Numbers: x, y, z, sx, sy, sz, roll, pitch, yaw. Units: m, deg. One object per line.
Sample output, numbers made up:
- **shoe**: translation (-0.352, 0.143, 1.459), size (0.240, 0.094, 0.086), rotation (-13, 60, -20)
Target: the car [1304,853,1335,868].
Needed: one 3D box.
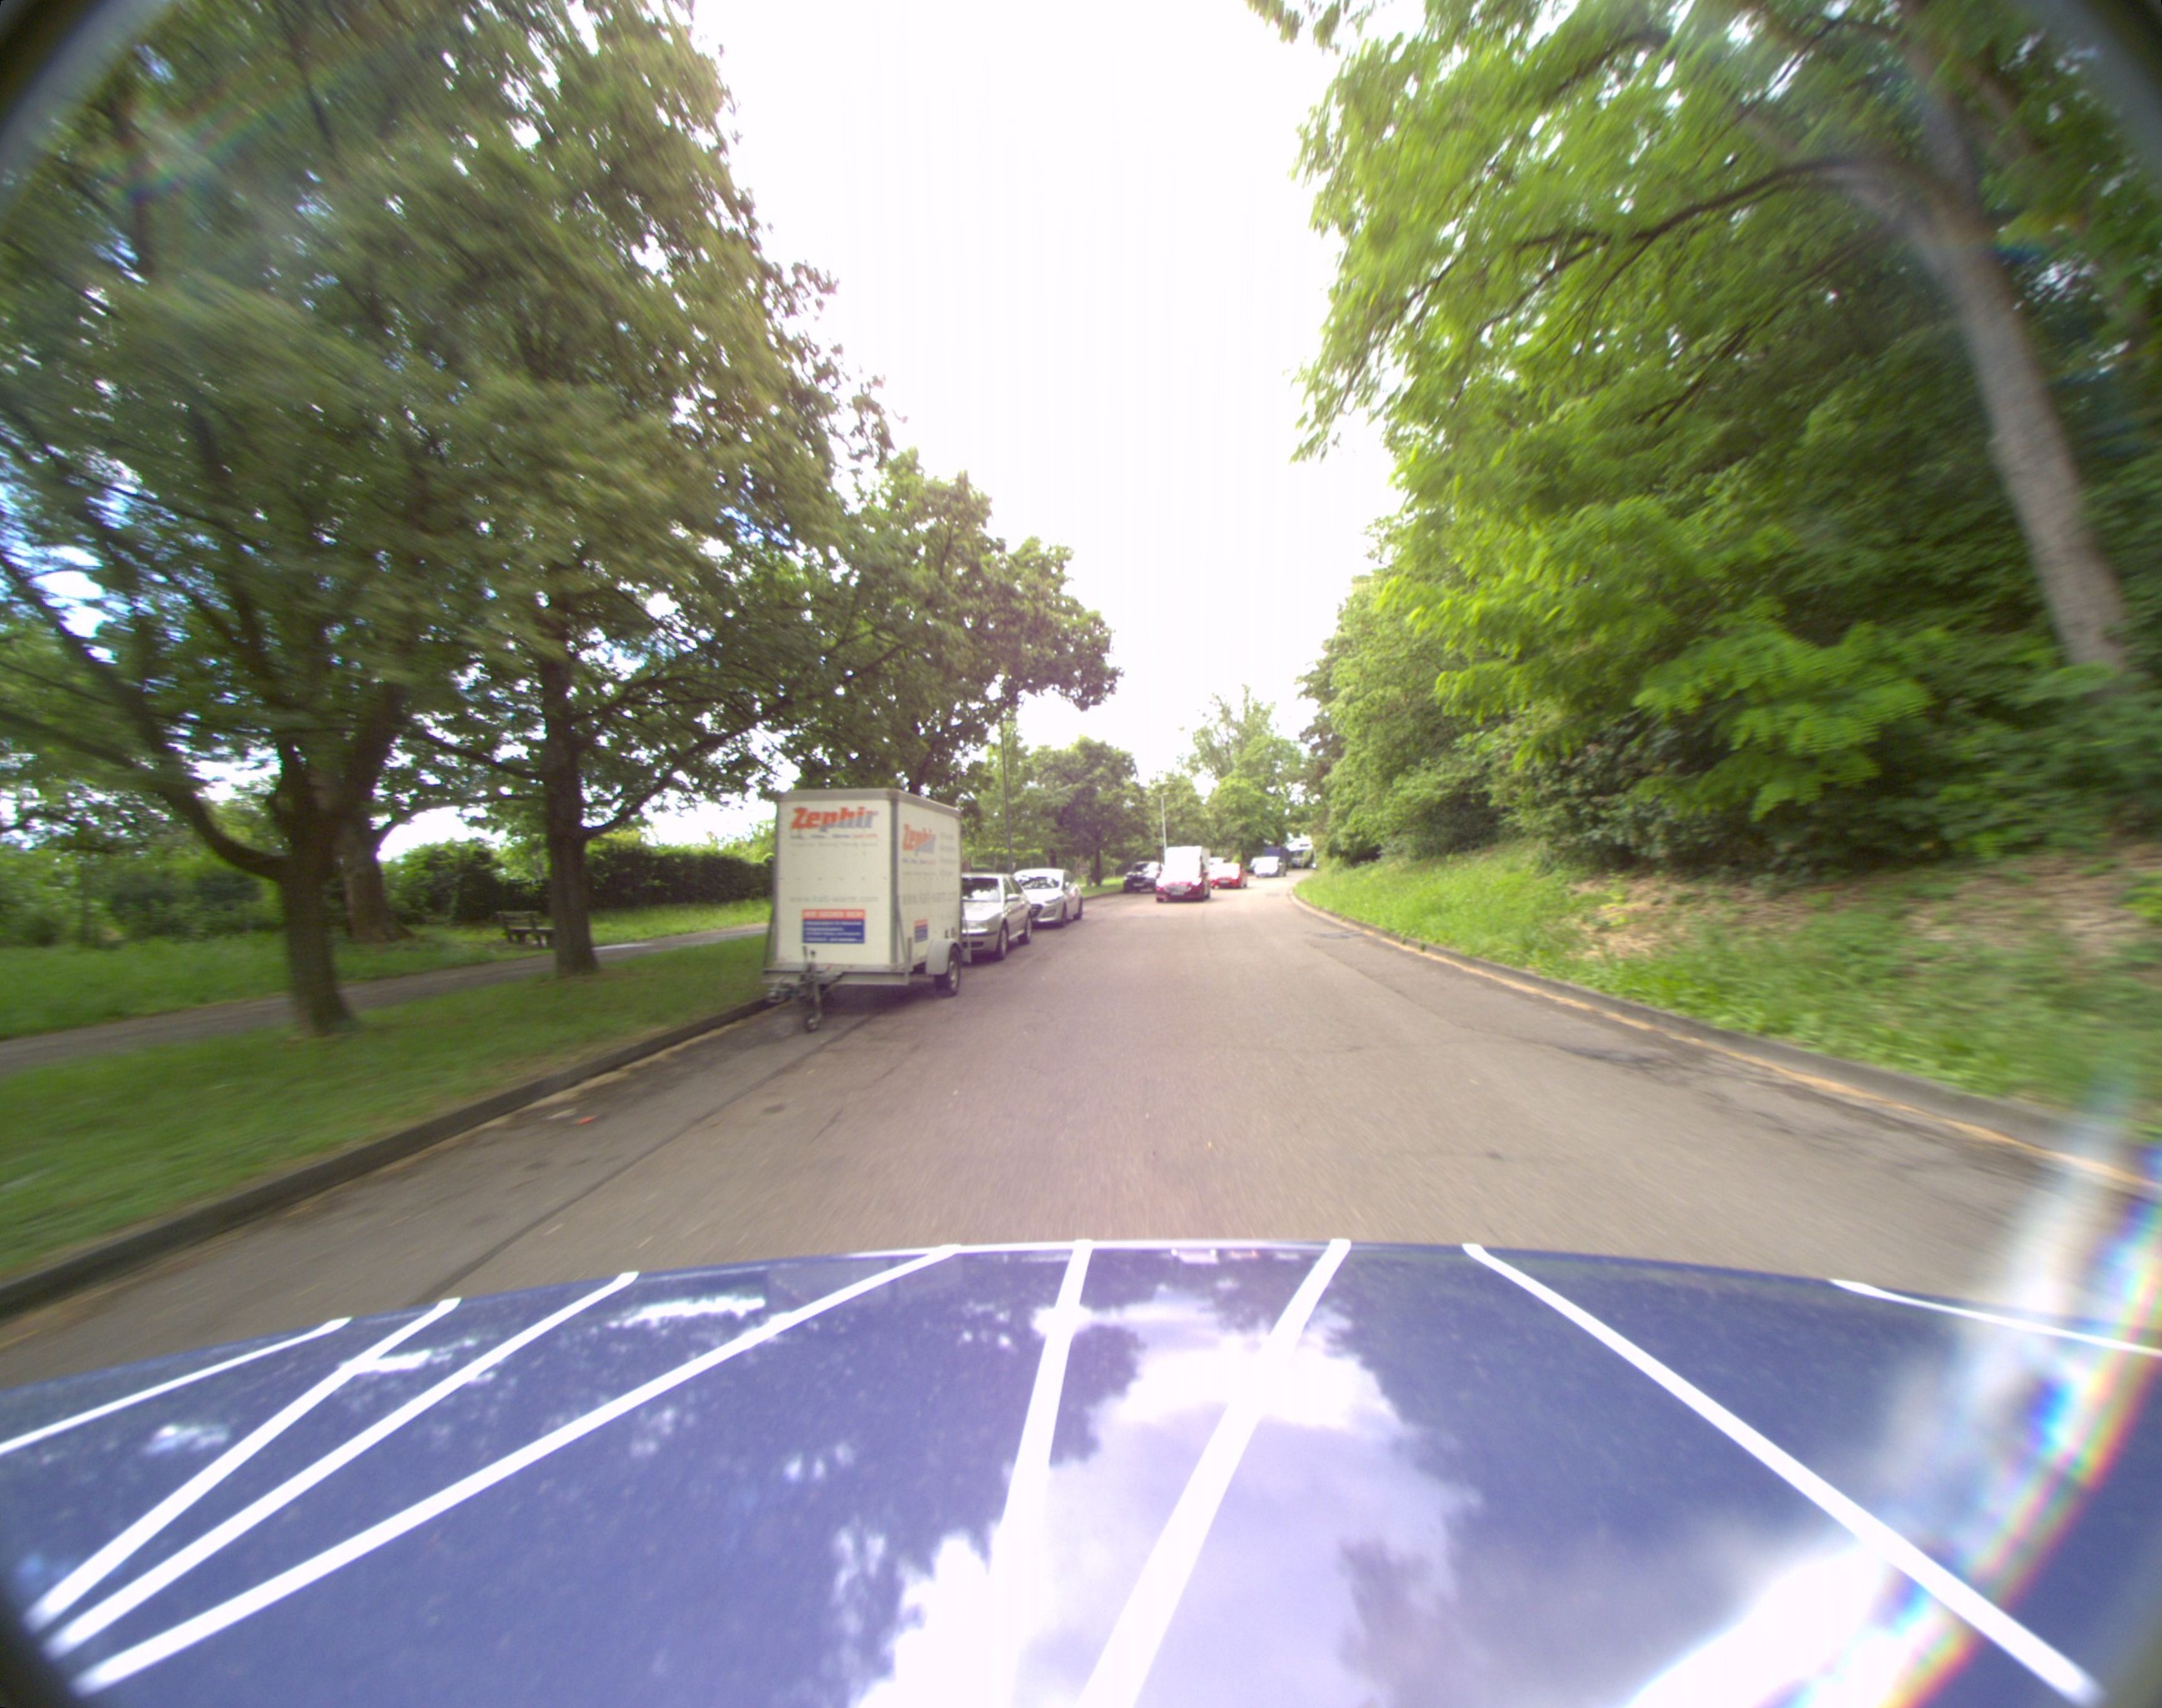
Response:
- **car**: translation (24.671, 0.691, 78.496), size (1.800, 1.481, 4.008), rotation (-1, 0, 36)

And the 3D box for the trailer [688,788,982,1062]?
- **trailer**: translation (-2.445, 0.642, 8.690), size (1.764, 2.413, 3.888), rotation (-1, 0, 5)

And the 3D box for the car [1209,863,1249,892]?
- **car**: translation (8.621, 1.319, 44.098), size (1.864, 1.441, 4.180), rotation (-1, 2, 17)

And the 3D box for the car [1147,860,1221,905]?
- **car**: translation (4.304, 1.126, 31.122), size (1.996, 1.618, 4.633), rotation (-3, -1, 20)

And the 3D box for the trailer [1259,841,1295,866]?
- **trailer**: translation (19.602, -0.021, 75.856), size (2.107, 2.348, 4.711), rotation (0, 0, 32)

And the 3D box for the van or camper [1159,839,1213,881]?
- **van or camper**: translation (7.032, 0.321, 50.323), size (2.164, 2.521, 6.039), rotation (-3, 0, 21)

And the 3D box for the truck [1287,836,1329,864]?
- **truck**: translation (25.508, -0.499, 85.127), size (2.305, 2.916, 7.046), rotation (-1, 1, 35)

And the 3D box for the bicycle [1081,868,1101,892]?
- **bicycle**: translation (0.603, 1.485, 44.085), size (0.535, 1.208, 2.186), rotation (-3, 2, 16)

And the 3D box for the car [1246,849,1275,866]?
- **car**: translation (16.985, 0.298, 71.857), size (1.730, 1.513, 3.412), rotation (-2, -1, 31)

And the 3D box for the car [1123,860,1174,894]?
- **car**: translation (3.654, 1.187, 40.671), size (1.851, 1.633, 4.536), rotation (-2, 0, 16)

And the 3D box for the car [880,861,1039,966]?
- **car**: translation (-2.020, 0.956, 14.100), size (1.745, 1.516, 4.637), rotation (-1, 0, 6)

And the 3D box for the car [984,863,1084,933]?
- **car**: translation (-1.129, 1.082, 20.211), size (1.906, 1.468, 4.059), rotation (-1, 2, 7)

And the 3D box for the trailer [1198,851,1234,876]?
- **trailer**: translation (10.503, 0.727, 58.863), size (1.774, 1.721, 4.656), rotation (0, 2, 23)

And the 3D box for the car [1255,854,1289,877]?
- **car**: translation (15.573, 0.921, 61.857), size (1.919, 1.672, 4.005), rotation (-1, 2, 25)

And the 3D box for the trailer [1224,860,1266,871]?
- **trailer**: translation (14.404, 1.028, 66.395), size (2.106, 0.647, 6.411), rotation (-3, 0, 25)
